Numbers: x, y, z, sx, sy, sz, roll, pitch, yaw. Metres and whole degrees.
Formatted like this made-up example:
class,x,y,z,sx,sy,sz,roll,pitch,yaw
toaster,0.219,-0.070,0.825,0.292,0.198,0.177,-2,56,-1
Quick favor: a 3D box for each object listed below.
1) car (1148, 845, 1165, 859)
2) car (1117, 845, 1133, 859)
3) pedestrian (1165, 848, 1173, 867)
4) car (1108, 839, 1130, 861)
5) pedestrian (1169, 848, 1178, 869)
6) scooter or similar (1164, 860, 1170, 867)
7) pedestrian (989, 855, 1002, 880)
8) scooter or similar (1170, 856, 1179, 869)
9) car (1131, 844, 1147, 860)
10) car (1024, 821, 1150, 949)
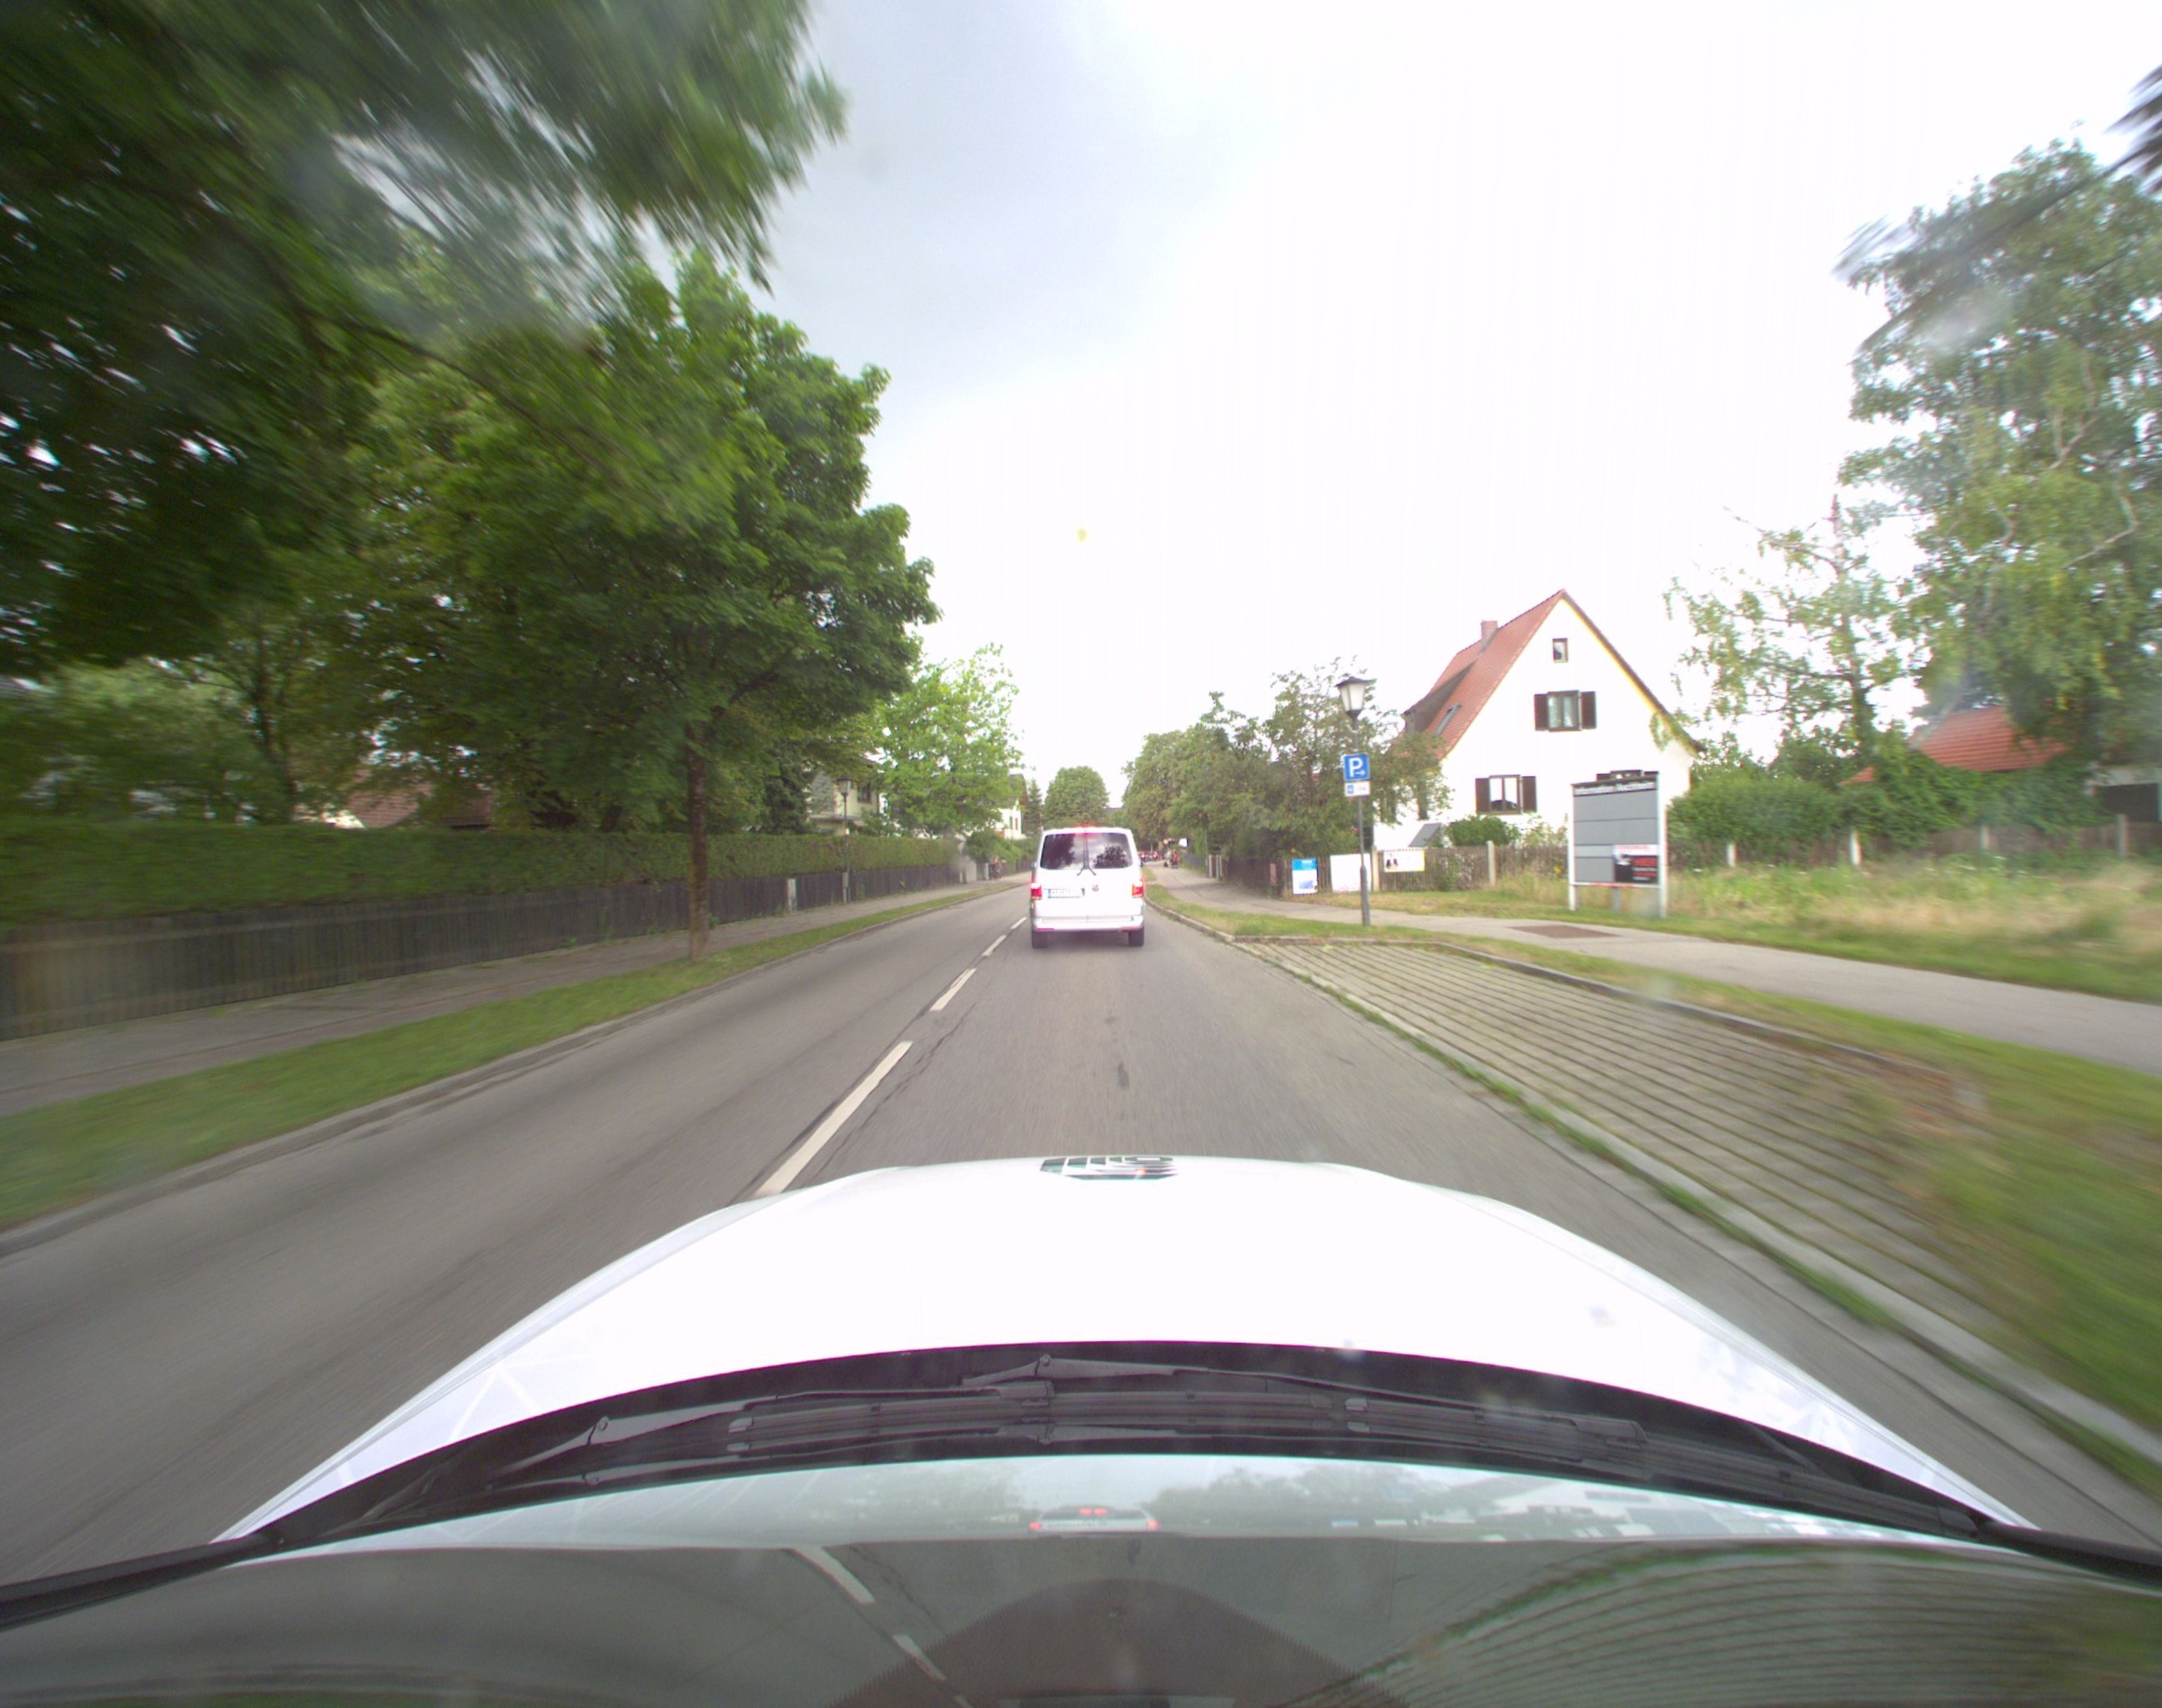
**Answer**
class,x,y,z,sx,sy,sz,roll,pitch,yaw
car,11.334,-0.338,122.151,1.981,2.013,4.012,-3,0,10
car,6.509,-0.280,120.814,1.982,2.013,4.009,-3,0,8
pedestrian,7.406,0.304,68.443,0.620,1.523,0.579,-1,0,-1
car,3.641,-0.408,77.639,1.984,2.013,4.005,-1,0,4
pedestrian,6.971,0.331,61.371,0.550,1.549,0.612,-1,0,-1
scooter or similar,7.288,0.784,69.126,0.473,0.545,0.458,-1,0,-1
pedestrian,-5.283,0.838,50.396,0.625,1.549,0.518,-1,0,-26
scooter or similar,6.963,0.616,60.715,0.550,0.971,0.620,-1,0,-1
car,7.988,-0.253,111.781,1.983,2.013,4.008,-3,0,7
car,0.195,0.478,14.517,1.880,1.912,4.003,-2,0,3
